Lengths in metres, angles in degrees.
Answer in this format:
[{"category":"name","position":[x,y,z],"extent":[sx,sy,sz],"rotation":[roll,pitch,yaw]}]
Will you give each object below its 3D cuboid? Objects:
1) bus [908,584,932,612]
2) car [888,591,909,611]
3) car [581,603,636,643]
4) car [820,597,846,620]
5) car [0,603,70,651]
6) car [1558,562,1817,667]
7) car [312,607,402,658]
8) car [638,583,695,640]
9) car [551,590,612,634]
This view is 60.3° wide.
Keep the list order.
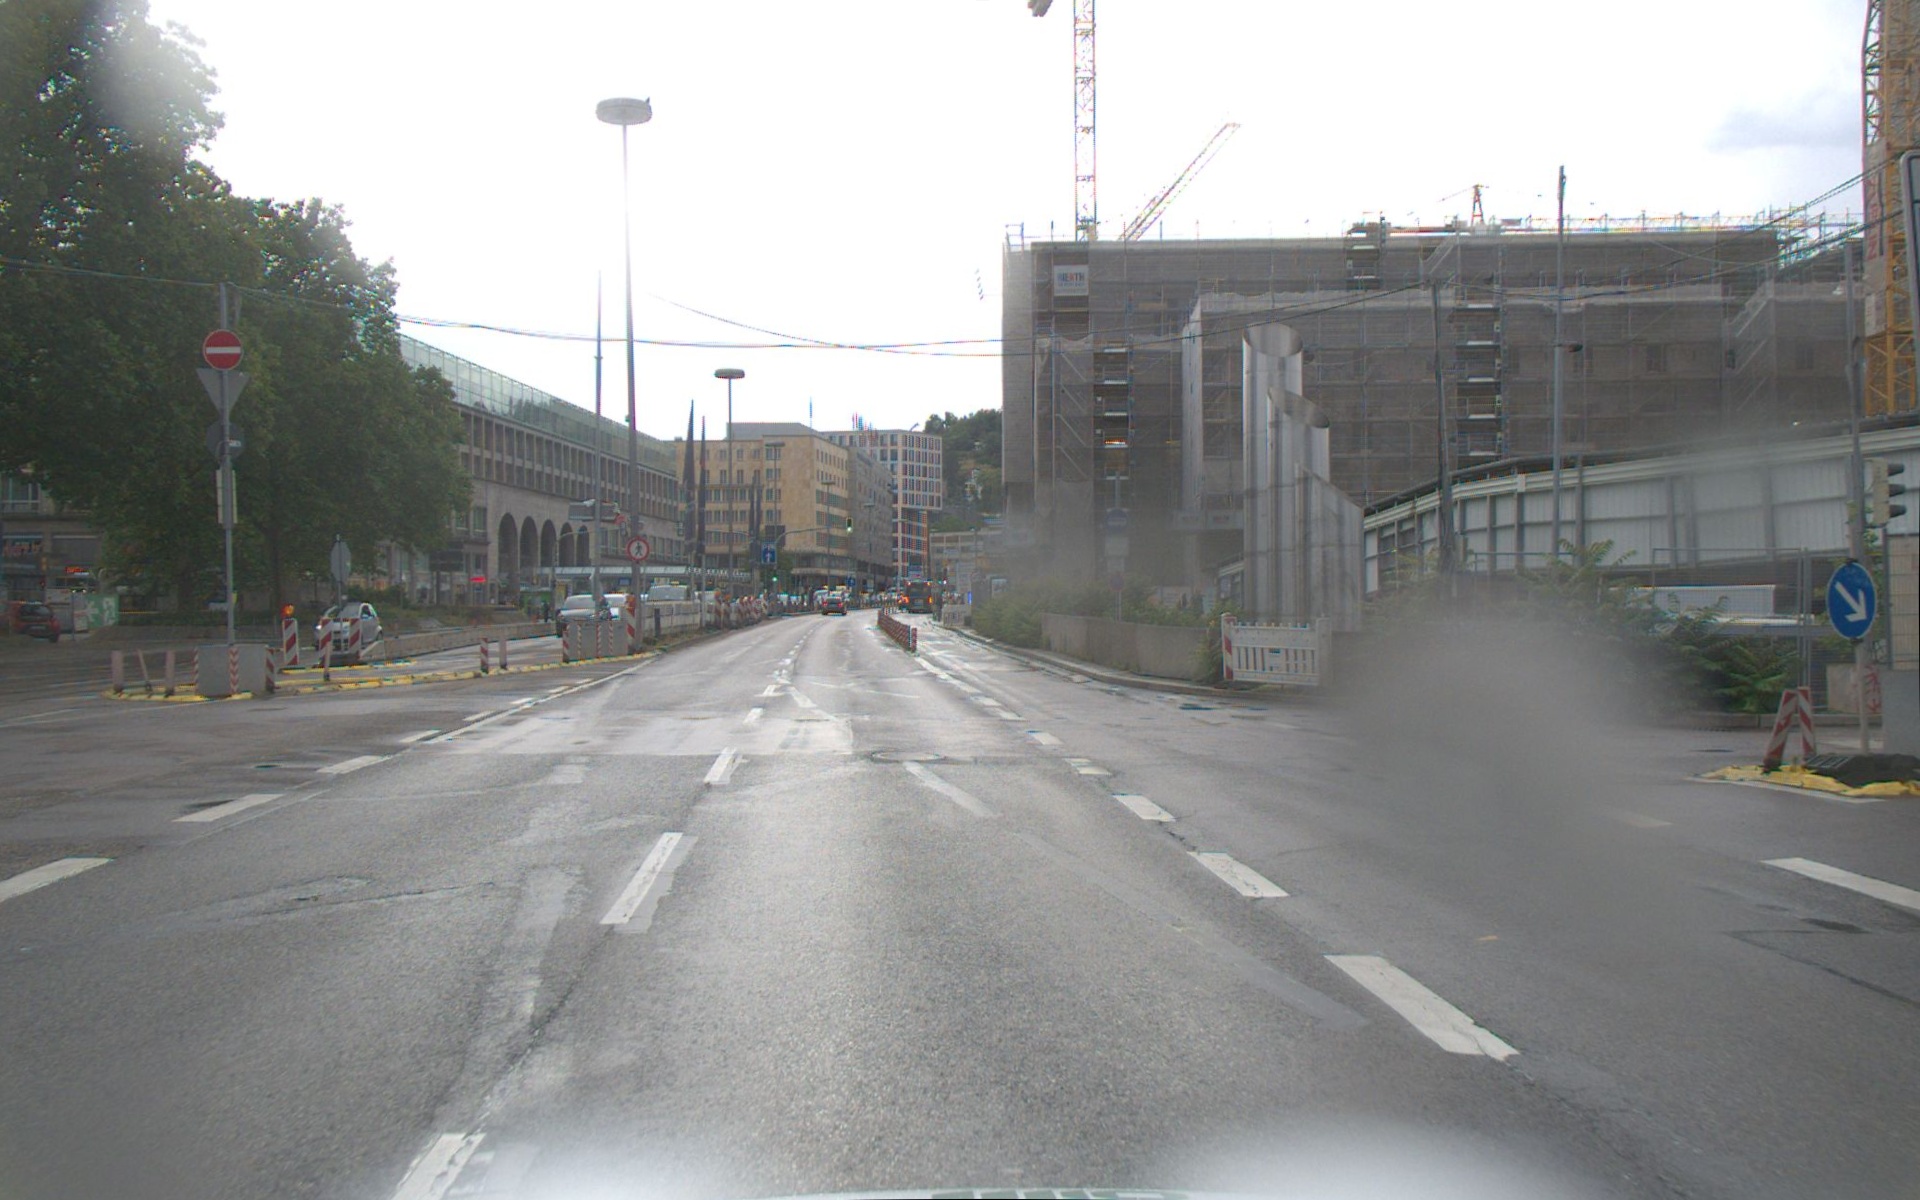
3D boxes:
[{"category":"bus","position":[-3.892,-0.176,161.379],"extent":[1.952,2.474,4.000],"rotation":[-3,-2,2]},{"category":"car","position":[-7.042,0.158,190.539],"extent":[1.952,2.049,4.001],"rotation":[-3,-2,3]},{"category":"car","position":[-15.450,1.051,72.937],"extent":[1.865,1.554,4.171],"rotation":[-3,-2,-6]},{"category":"car","position":[-10.184,0.704,132.434],"extent":[1.865,1.554,4.171],"rotation":[-3,-2,-6]},{"category":"car","position":[-34.020,1.004,60.130],"extent":[1.894,1.554,3.939],"rotation":[-1,-3,-44]},{"category":"car","position":[16.106,0.268,36.770],"extent":[4.796,2.169,2.338],"rotation":[1,1,45]},{"category":"car","position":[-20.636,1.145,56.738],"extent":[1.865,1.554,4.171],"rotation":[-3,-2,-6]},{"category":"car","position":[-11.962,0.513,67.612],"extent":[1.865,2.119,4.171],"rotation":[-3,-2,-6]},{"category":"car","position":[-15.305,0.522,67.075],"extent":[1.865,1.554,4.171],"rotation":[-3,-2,-6]}]
